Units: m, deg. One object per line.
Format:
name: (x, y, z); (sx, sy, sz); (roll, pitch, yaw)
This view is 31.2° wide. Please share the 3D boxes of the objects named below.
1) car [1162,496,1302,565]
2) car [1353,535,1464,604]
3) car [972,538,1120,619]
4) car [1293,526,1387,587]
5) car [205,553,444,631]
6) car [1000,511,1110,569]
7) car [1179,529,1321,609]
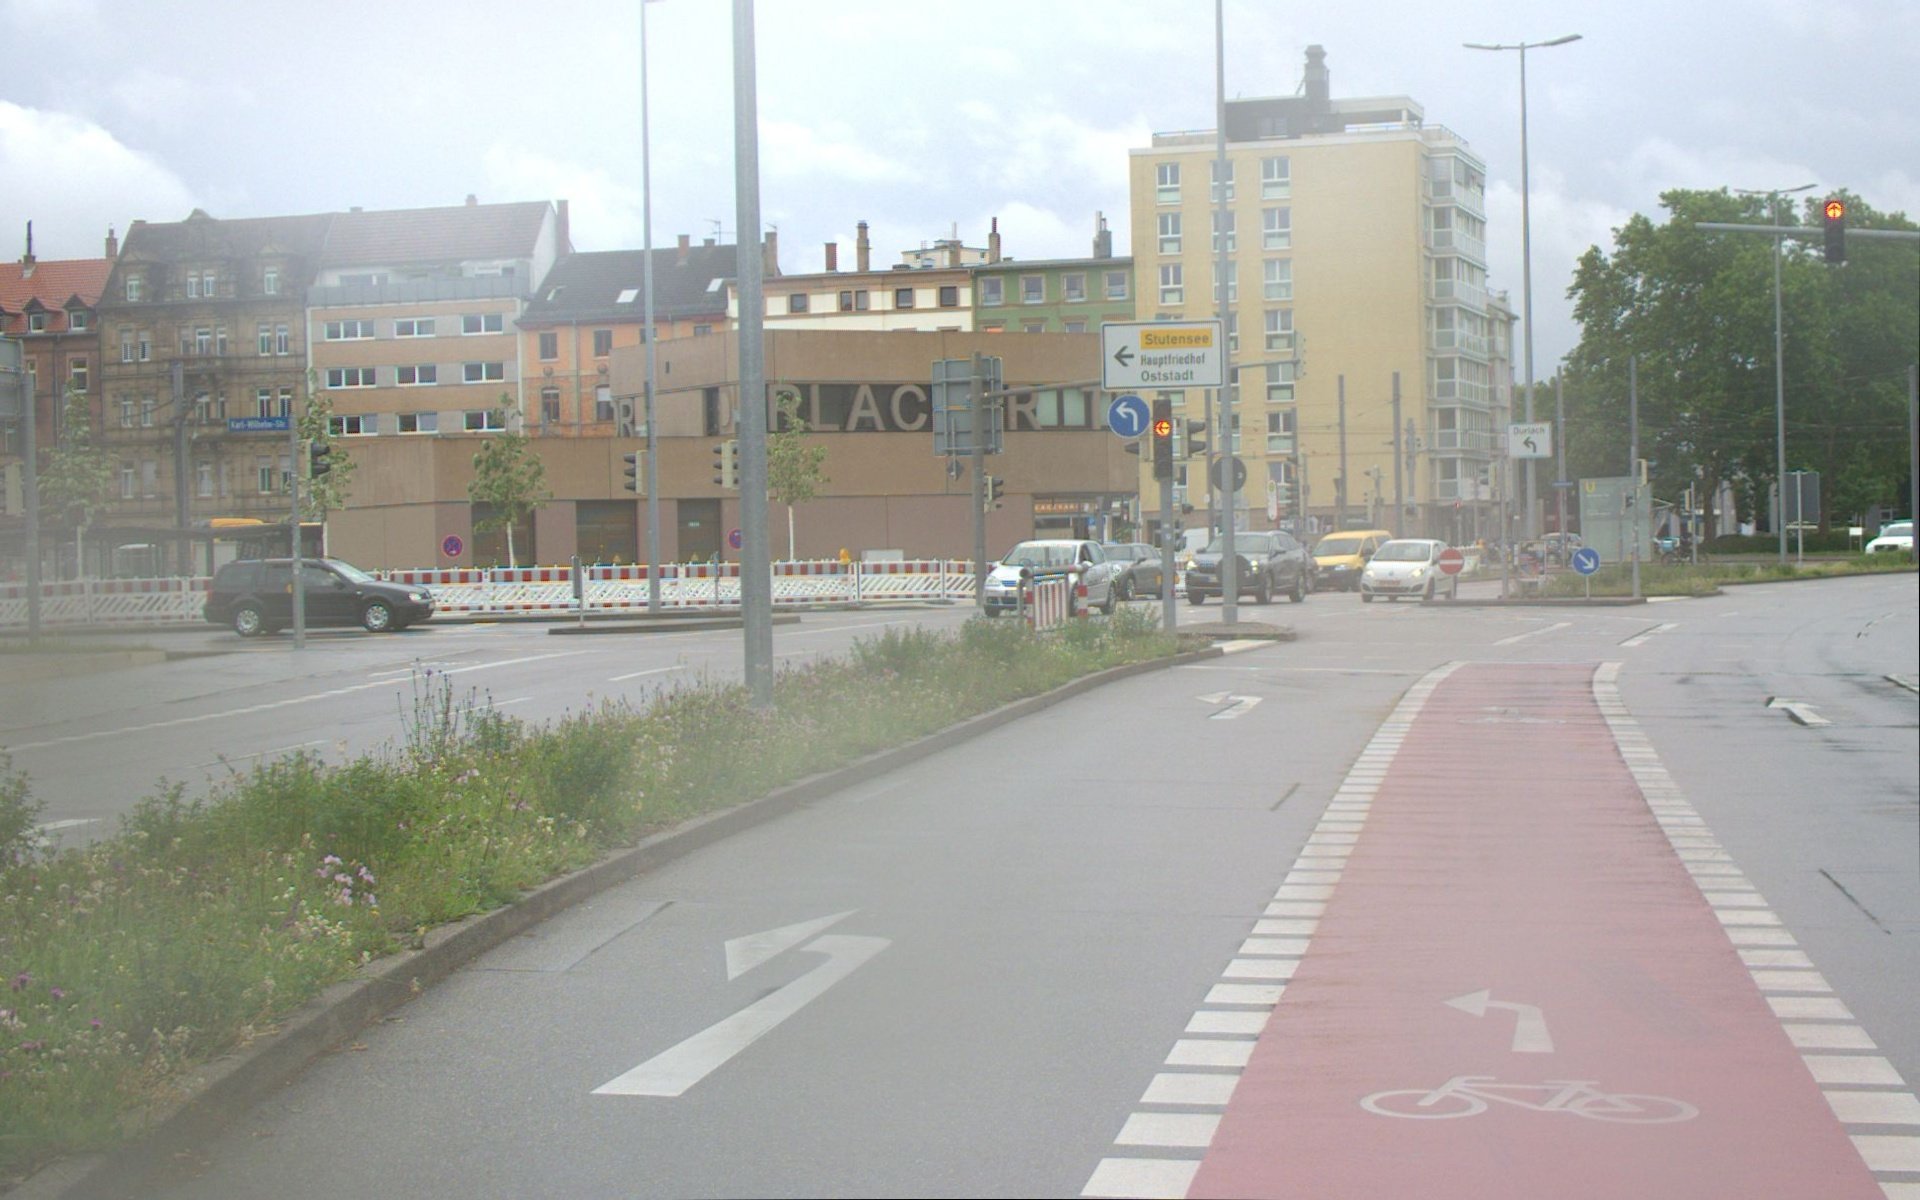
car: (14.043, -3.582, 177.343); (6.745, 3.368, 2.808); (-1, 1, 14)
car: (10.559, -0.737, 80.714); (1.681, 1.496, 3.864); (-2, 1, 21)
car: (1.671, -0.430, 65.156); (1.680, 1.399, 4.155); (-2, 1, 17)
car: (11.203, -1.291, 101.180); (1.707, 1.700, 4.148); (-1, 1, 22)
car: (-12.140, -0.164, 65.775); (4.192, 1.397, 1.618); (-1, 1, 5)
car: (4.984, -3.148, 179.868); (5.354, 2.877, 2.337); (-1, 1, 14)
car: (6.640, -0.723, 78.222); (1.995, 1.630, 4.598); (-3, 1, 20)
